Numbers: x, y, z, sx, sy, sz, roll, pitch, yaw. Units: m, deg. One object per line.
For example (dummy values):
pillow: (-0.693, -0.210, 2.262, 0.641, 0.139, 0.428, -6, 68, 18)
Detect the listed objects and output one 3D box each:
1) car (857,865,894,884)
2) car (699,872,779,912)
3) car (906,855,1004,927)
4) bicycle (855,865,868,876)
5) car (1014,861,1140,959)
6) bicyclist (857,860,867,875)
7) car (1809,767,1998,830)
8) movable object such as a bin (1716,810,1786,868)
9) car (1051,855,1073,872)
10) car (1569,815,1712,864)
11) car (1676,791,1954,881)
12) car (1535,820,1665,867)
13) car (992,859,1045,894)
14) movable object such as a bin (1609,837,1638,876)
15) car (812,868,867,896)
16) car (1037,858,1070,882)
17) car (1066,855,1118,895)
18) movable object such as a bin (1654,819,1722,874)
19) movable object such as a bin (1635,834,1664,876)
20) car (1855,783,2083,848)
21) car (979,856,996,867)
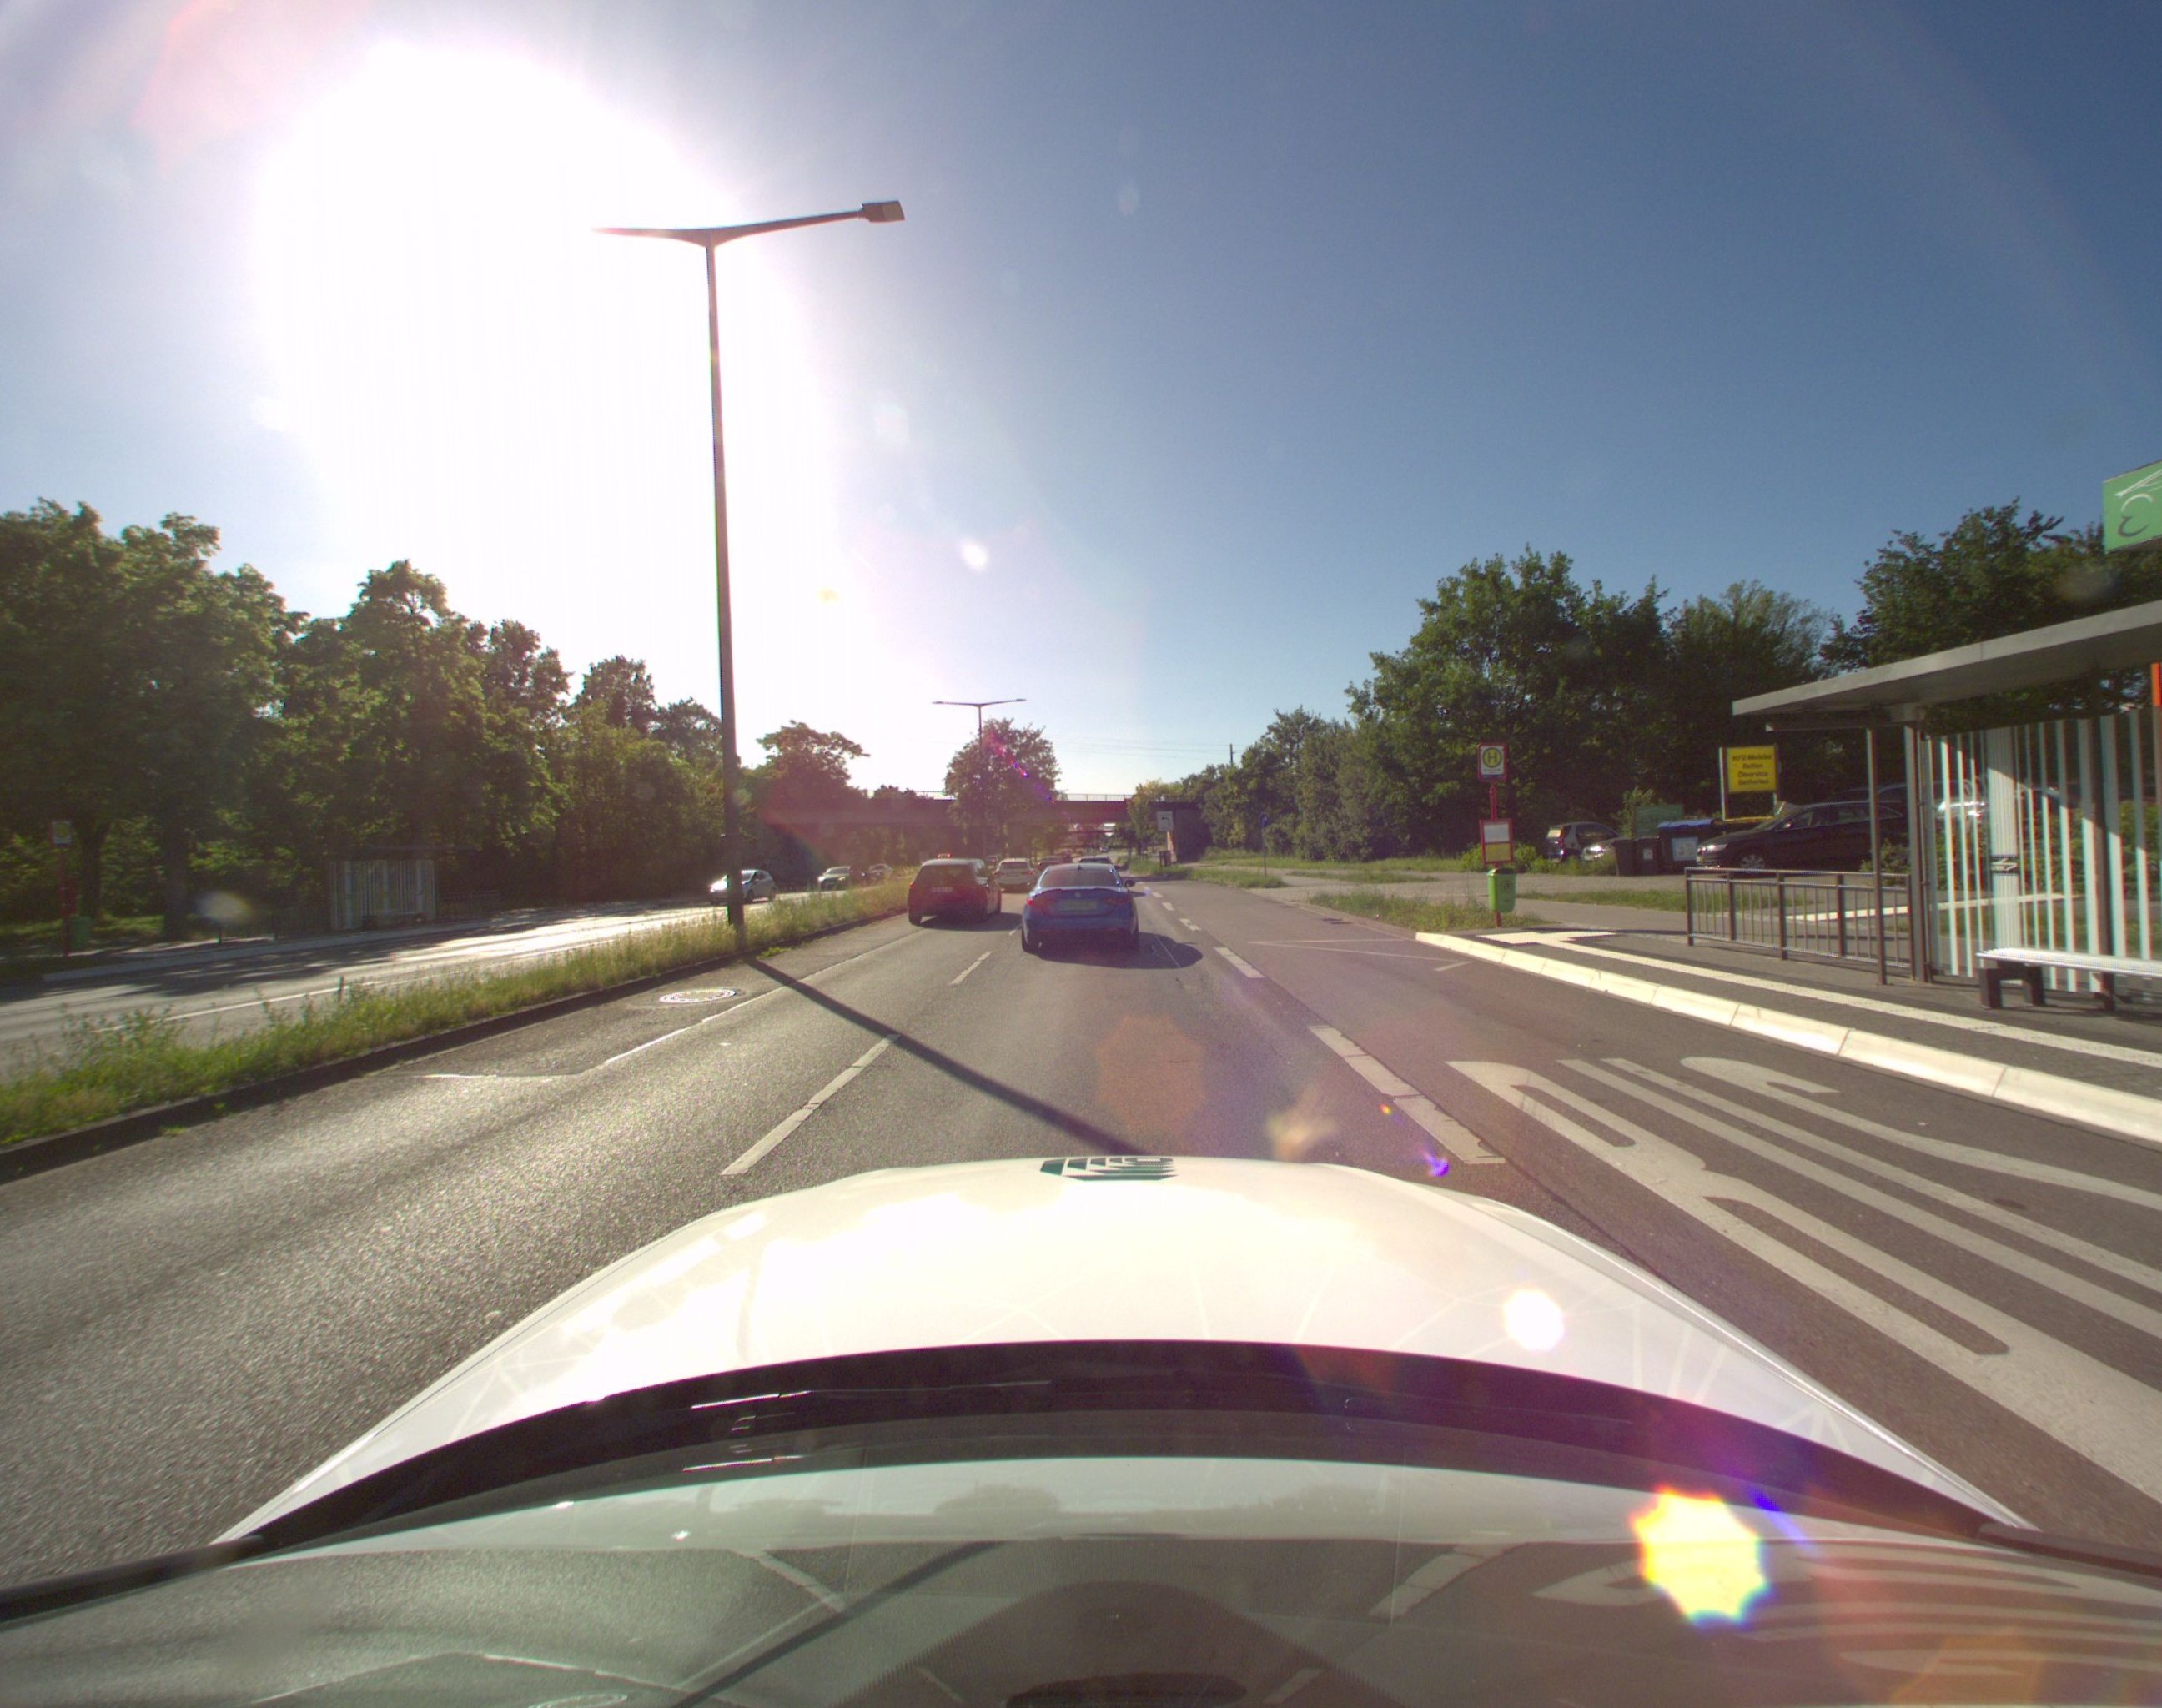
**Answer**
car: (-17.580, 1.736, 69.903, 1.907, 1.454, 4.491, -4, 0, 1)
car: (-15.002, 1.629, 35.964, 1.635, 1.451, 4.112, -4, 0, 1)
car: (-3.042, 0.847, 20.490, 1.701, 1.598, 4.225, -1, 0, 1)
bicycle: (-21.418, 1.620, 79.487, 0.681, 1.030, 1.715, -1, 0, 1)
car: (-0.003, 0.862, 14.372, 1.876, 1.406, 4.225, -1, 0, 1)
bicyclist: (-21.416, 1.329, 79.551, 0.677, 1.402, 1.027, -1, 0, 1)
car: (25.817, -1.706, 25.663, 4.021, 1.531, 1.735, -5, 0, 2)
movable object such as a bin: (17.442, -0.383, 21.206, 0.994, 1.428, 1.210, -2, 0, -41)
car: (-1.708, 0.883, 75.345, 1.773, 1.454, 4.183, -2, 0, 1)
car: (17.412, -0.448, 25.459, 3.270, 1.417, 1.729, -1, 0, 2)
car: (16.987, -0.381, 19.216, 4.502, 1.640, 1.813, -5, -1, 31)
car: (17.491, -0.342, 27.570, 3.270, 1.486, 1.773, -1, 0, 2)
car: (-2.713, 0.953, 36.283, 1.876, 1.454, 4.527, -1, 0, 1)
movable object such as a bin: (15.301, 0.059, 22.959, 0.585, 1.074, 0.504, -2, 0, -40)
car: (-14.659, 1.647, 49.718, 1.811, 1.435, 4.632, -4, 0, 1)
car: (-1.793, 1.047, 54.421, 1.876, 1.454, 4.527, -1, 0, 1)
car: (0.470, 0.781, 32.344, 1.876, 1.454, 4.527, -1, 0, 1)
movable object such as a bin: (16.303, -0.210, 21.884, 0.994, 1.428, 1.245, -2, 0, -41)
movable object such as a bin: (15.775, 0.030, 22.593, 0.585, 1.121, 0.504, -2, 0, -40)
car: (22.747, -0.908, 21.123, 1.717, 1.464, 3.917, -1, 0, 2)
car: (-13.168, 1.051, 115.357, 1.810, 1.442, 4.090, -3, 0, 1)
